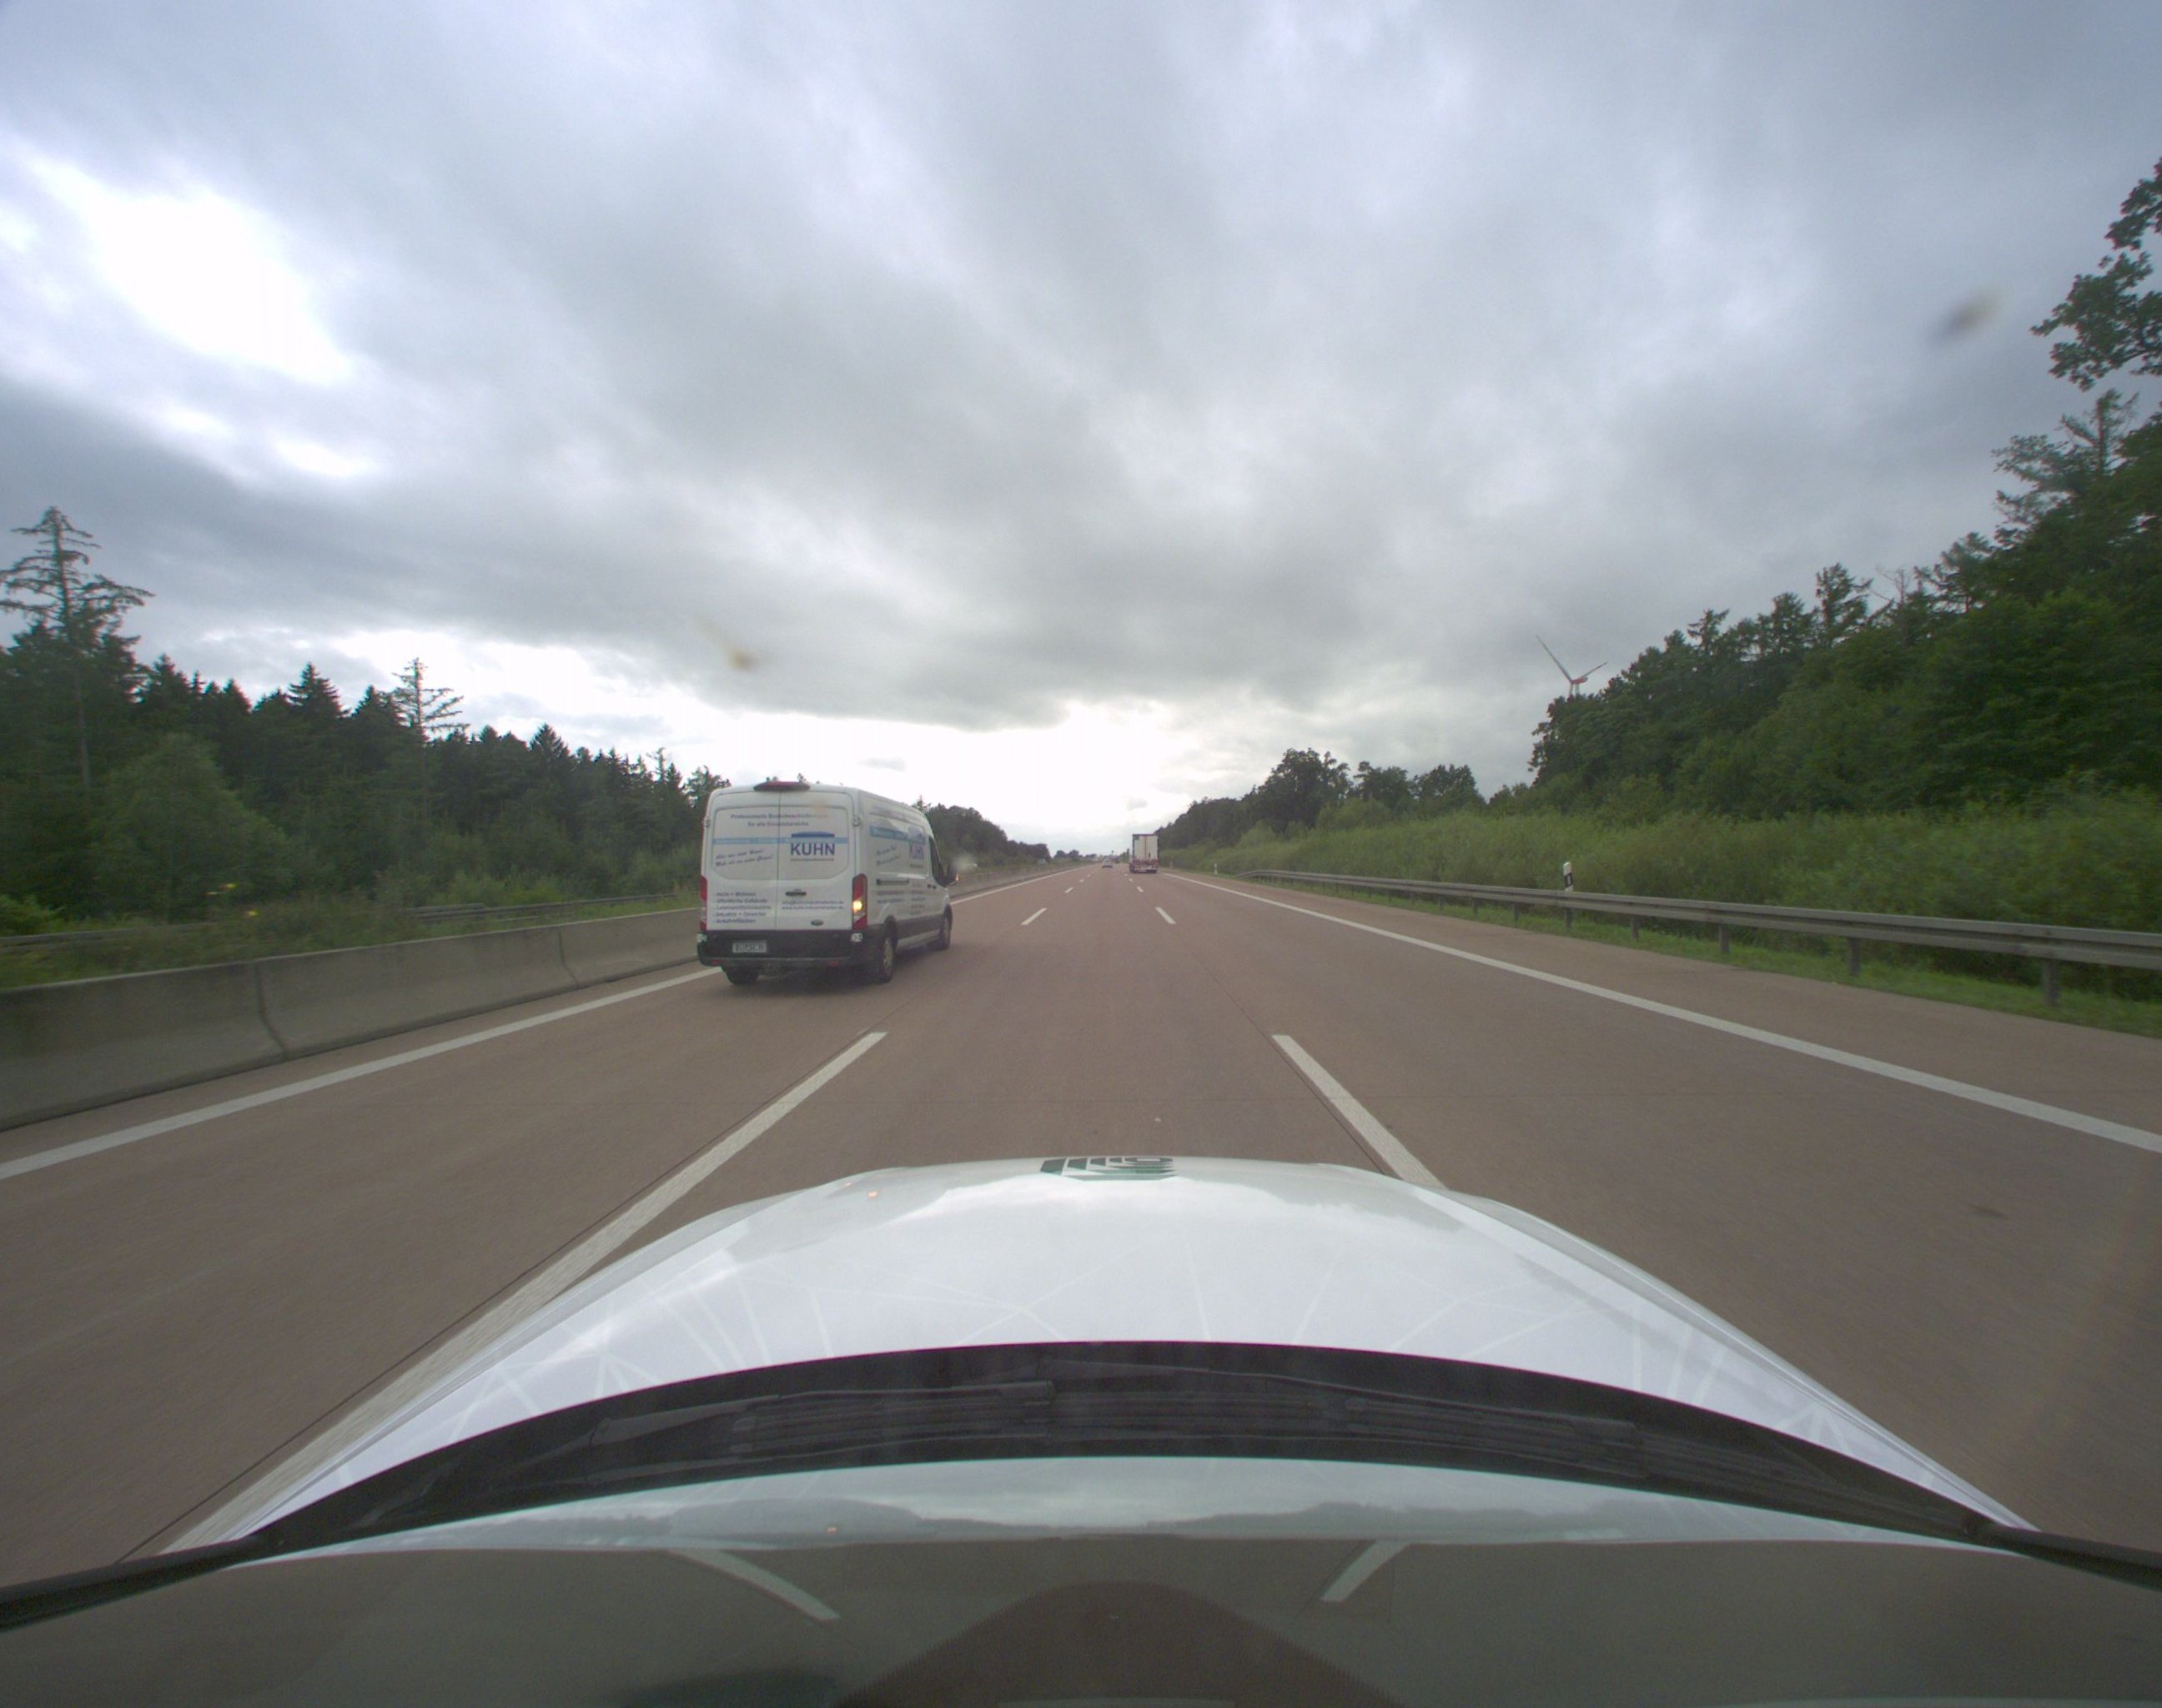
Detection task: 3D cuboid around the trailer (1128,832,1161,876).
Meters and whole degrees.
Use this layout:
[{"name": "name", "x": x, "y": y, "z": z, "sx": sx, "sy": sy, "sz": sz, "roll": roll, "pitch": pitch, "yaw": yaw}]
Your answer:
[{"name": "trailer", "x": 6.652, "y": 0.029, "z": 87.116, "sx": 2.910, "sy": 4.294, "sz": 13.620, "roll": -1, "pitch": -1, "yaw": 2}]

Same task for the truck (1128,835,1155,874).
[{"name": "truck", "x": 6.961, "y": 0.074, "z": 94.800, "sx": 2.910, "sy": 4.294, "sz": 5.337, "roll": -1, "pitch": -1, "yaw": 2}]

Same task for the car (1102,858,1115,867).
[{"name": "car", "x": 4.837, "y": 1.506, "z": 145.251, "sx": 2.154, "sy": 1.451, "sz": 4.723, "roll": 0, "pitch": 0, "yaw": 4}]

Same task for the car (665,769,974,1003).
[{"name": "car", "x": -3.325, "y": 0.353, "z": 12.443, "sx": 2.129, "sy": 2.507, "sz": 7.135, "roll": -1, "pitch": 0, "yaw": 2}]
